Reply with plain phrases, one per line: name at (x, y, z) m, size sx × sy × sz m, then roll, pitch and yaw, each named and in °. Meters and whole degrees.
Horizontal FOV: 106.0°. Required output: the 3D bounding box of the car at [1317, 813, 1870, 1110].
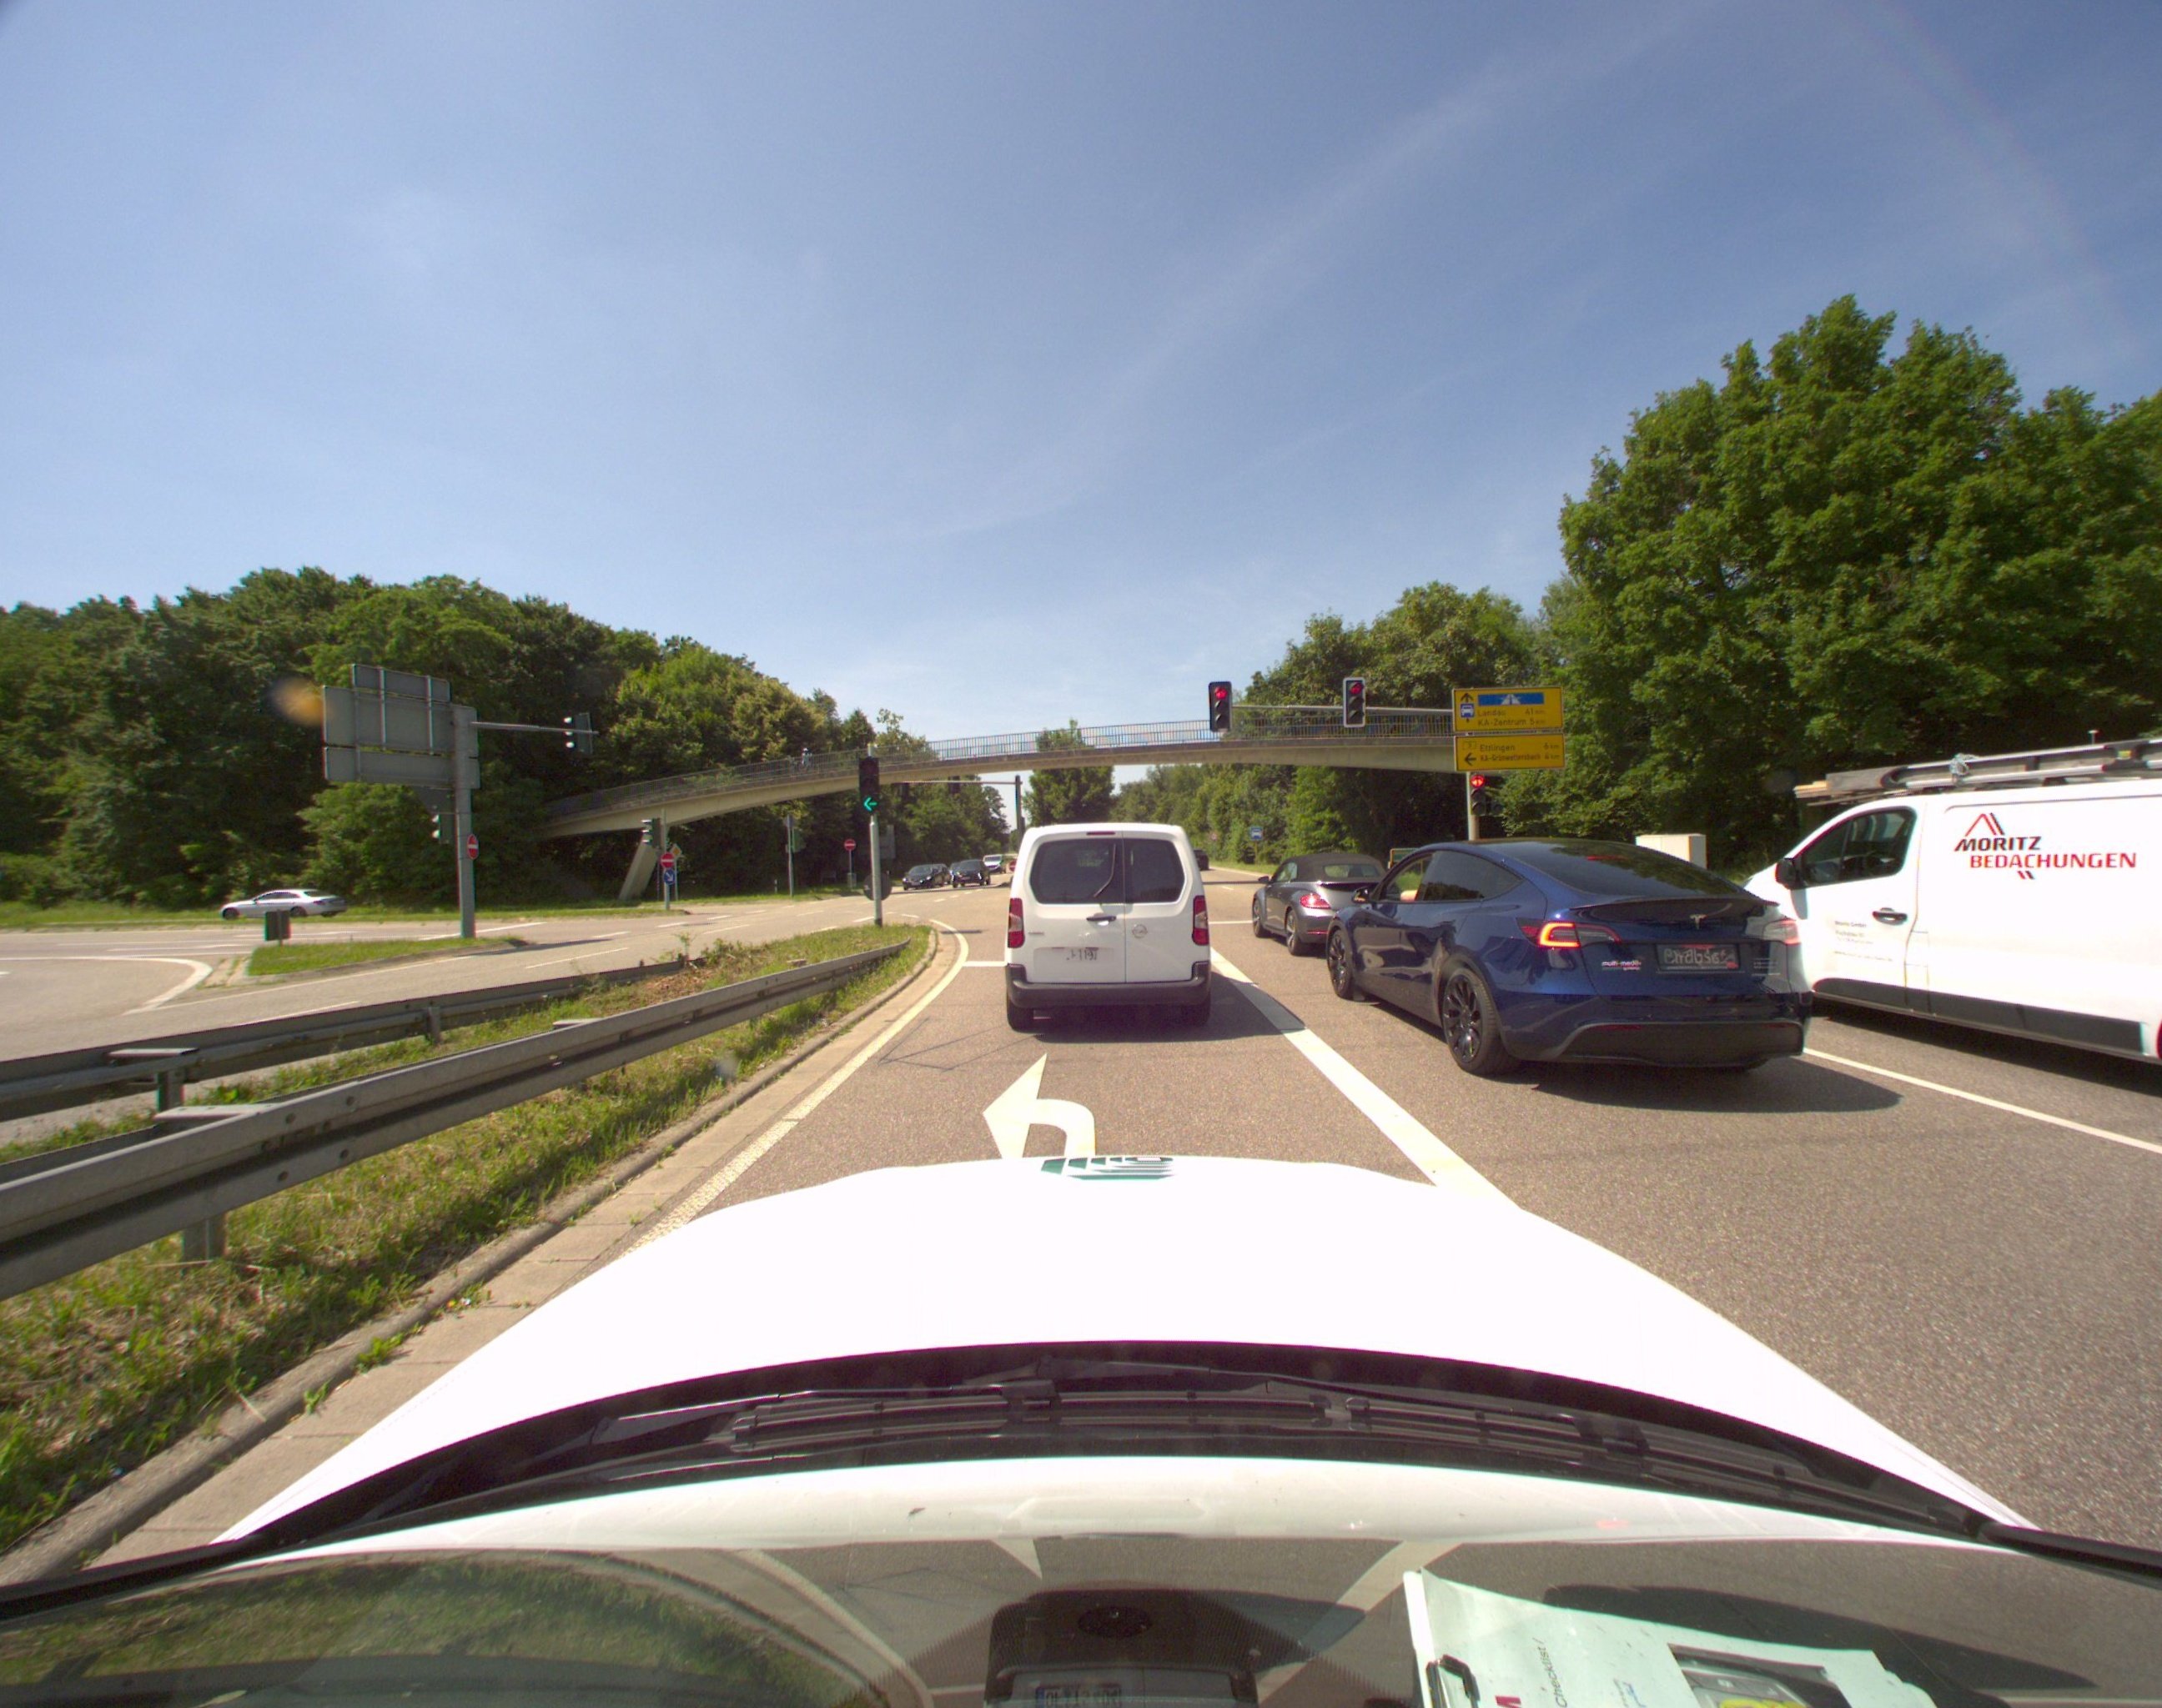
car at (3.520, 0.600, 6.821) m, size 1.893 × 1.644 × 4.522 m, roll -1°, pitch 0°, yaw 2°

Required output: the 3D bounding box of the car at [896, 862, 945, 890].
car at (-9.677, 1.323, 49.420) m, size 2.001 × 1.460 × 4.057 m, roll -4°, pitch 0°, yaw 2°

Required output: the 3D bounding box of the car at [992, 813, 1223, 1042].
car at (0.245, 0.565, 8.547) m, size 1.843 × 1.825 × 3.982 m, roll -1°, pitch 1°, yaw 1°

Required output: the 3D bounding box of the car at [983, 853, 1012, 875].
car at (-8.365, 0.953, 82.195) m, size 2.201 × 1.993 × 5.487 m, roll -3°, pitch 0°, yaw 0°

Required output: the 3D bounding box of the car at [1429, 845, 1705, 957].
car at (7.379, 0.619, 12.991) m, size 1.893 × 1.478 × 4.382 m, roll -1°, pitch 0°, yaw 2°

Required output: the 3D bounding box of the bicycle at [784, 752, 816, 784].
bicycle at (-14.755, -4.514, 42.708) m, size 1.514 × 1.474 × 0.472 m, roll -4°, pitch -2°, yaw 17°

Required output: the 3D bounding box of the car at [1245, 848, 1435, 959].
car at (3.907, 0.668, 13.018) m, size 1.893 × 1.478 × 3.940 m, roll -1°, pitch 0°, yaw 2°

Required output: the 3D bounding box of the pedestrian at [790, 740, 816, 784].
pedestrian at (-14.639, -4.850, 42.943) m, size 0.776 × 2.139 × 0.936 m, roll -4°, pitch -2°, yaw 17°

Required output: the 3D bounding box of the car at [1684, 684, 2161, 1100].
car at (7.086, 0.207, 5.783) m, size 1.925 × 2.349 × 5.076 m, roll -1°, pitch 0°, yaw 1°

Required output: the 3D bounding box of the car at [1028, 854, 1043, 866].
car at (-8.296, 1.011, 147.359) m, size 2.200 × 1.993 × 4.735 m, roll -3°, pitch 0°, yaw 2°

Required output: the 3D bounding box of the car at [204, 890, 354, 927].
car at (-37.858, 2.532, 38.564) m, size 4.761 × 1.373 × 1.996 m, roll -3°, pitch 0°, yaw -7°

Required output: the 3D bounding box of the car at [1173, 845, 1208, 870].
car at (7.984, 0.232, 59.781) m, size 2.033 × 1.699 × 5.090 m, roll -2°, pitch 0°, yaw 3°

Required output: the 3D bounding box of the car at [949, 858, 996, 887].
car at (-6.229, 1.032, 47.142) m, size 1.986 × 1.523 × 4.029 m, roll -1°, pitch 0°, yaw 2°
